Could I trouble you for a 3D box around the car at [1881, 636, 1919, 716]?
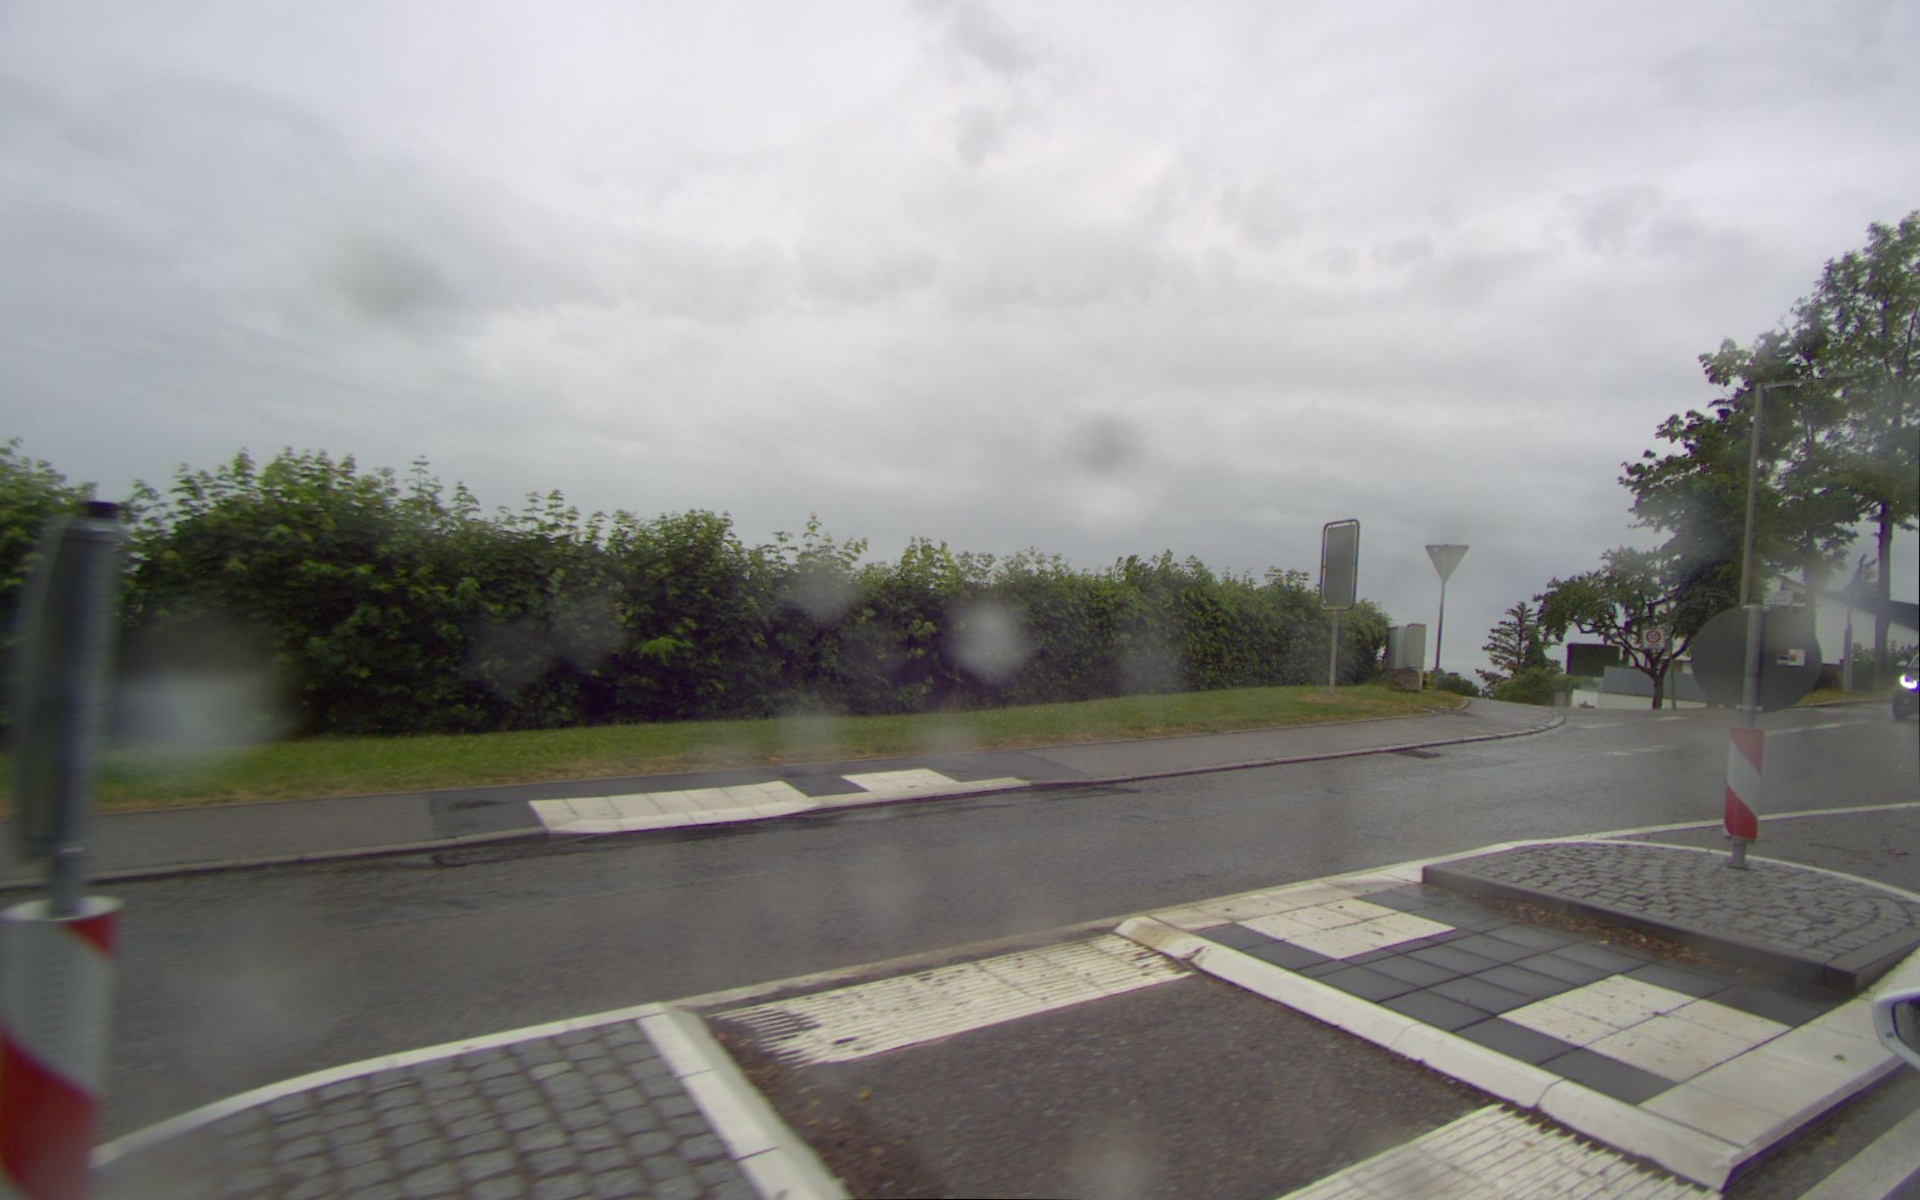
[{"bbox_3d":[20.599,1.551,20.458,4.582,1.540,1.820,3,-2,-36],"label":"car"}]
